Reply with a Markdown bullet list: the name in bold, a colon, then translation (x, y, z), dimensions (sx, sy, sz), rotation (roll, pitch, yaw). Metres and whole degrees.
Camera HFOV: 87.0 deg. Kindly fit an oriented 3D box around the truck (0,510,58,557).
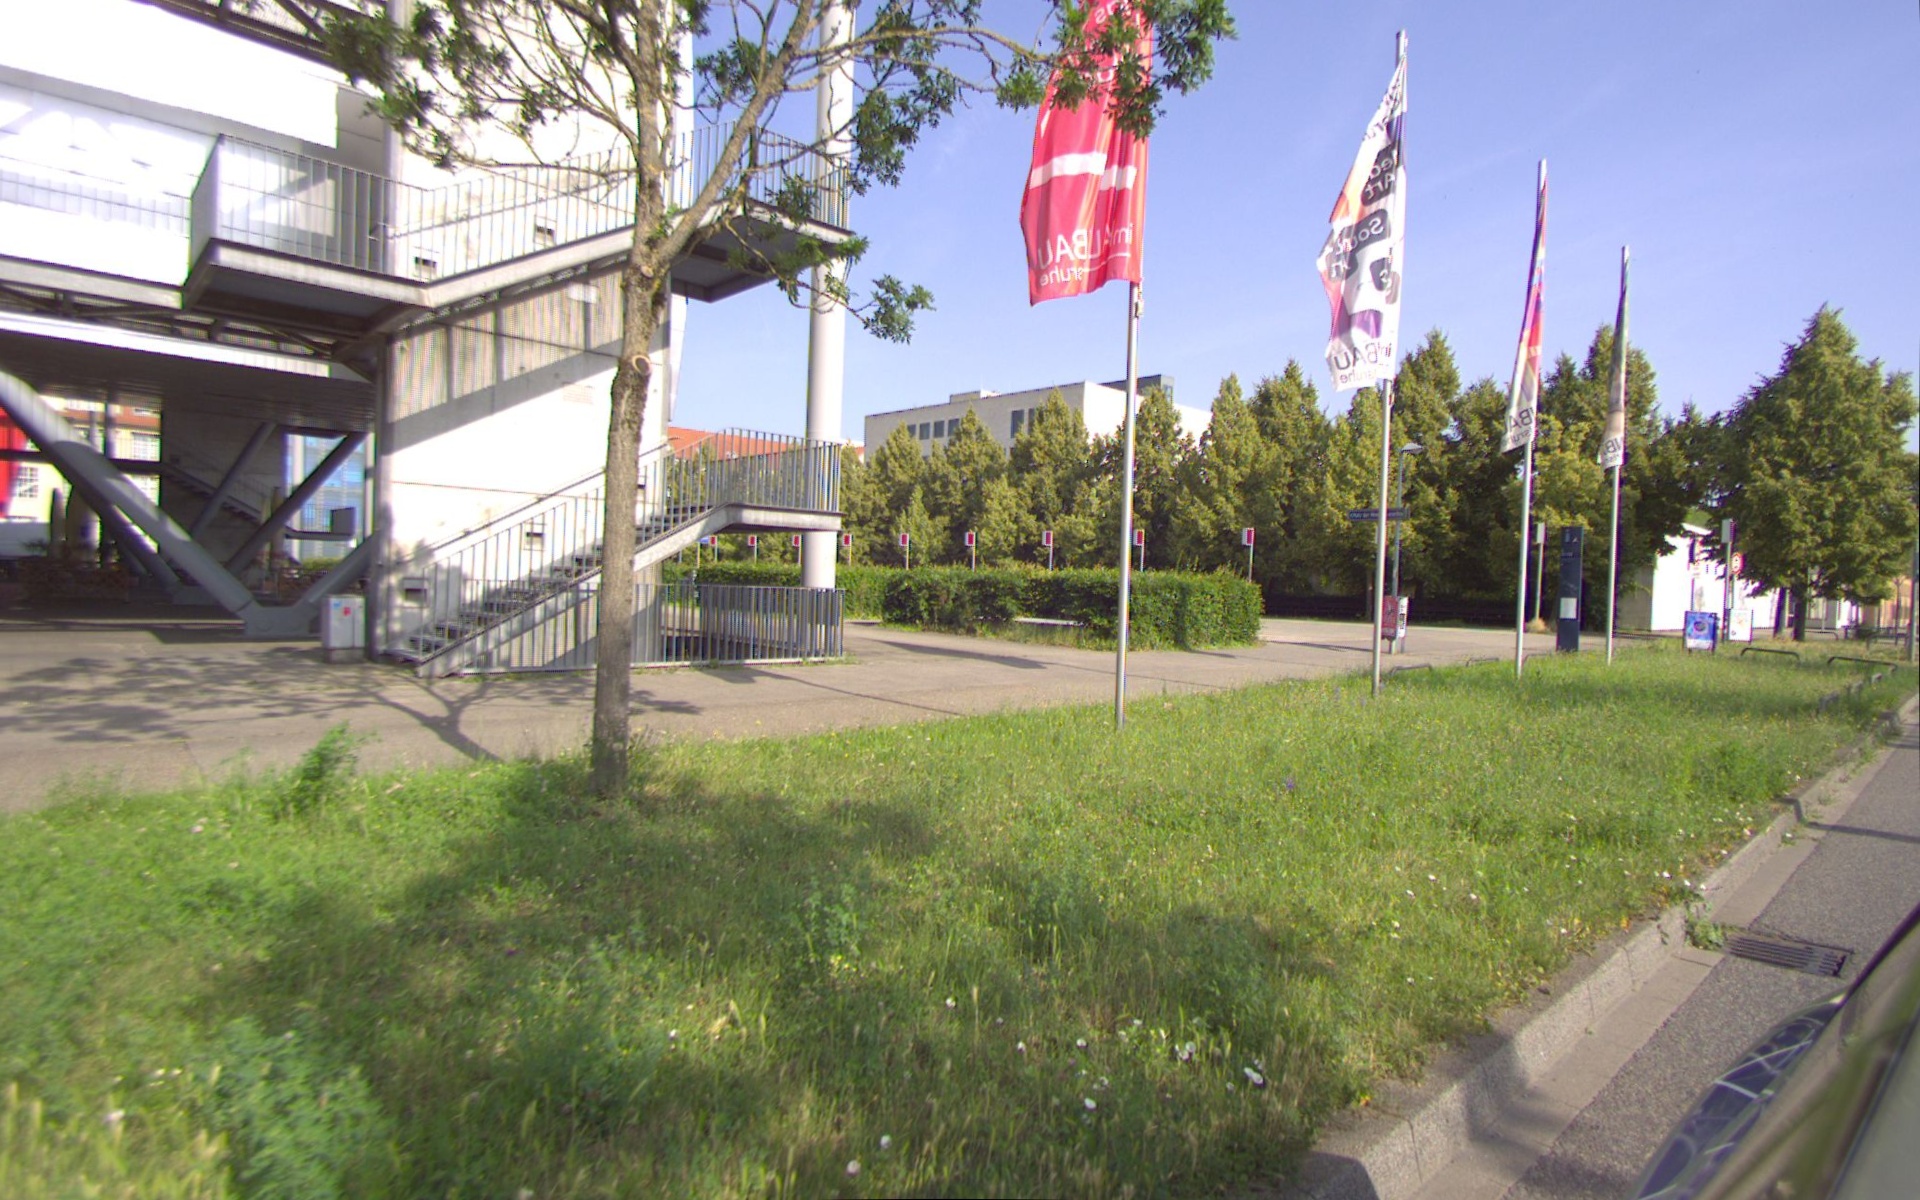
- **truck**: translation (-41.485, -2.870, 42.222), dimensions (1.994, 1.875, 5.604), rotation (3, 2, 44)
